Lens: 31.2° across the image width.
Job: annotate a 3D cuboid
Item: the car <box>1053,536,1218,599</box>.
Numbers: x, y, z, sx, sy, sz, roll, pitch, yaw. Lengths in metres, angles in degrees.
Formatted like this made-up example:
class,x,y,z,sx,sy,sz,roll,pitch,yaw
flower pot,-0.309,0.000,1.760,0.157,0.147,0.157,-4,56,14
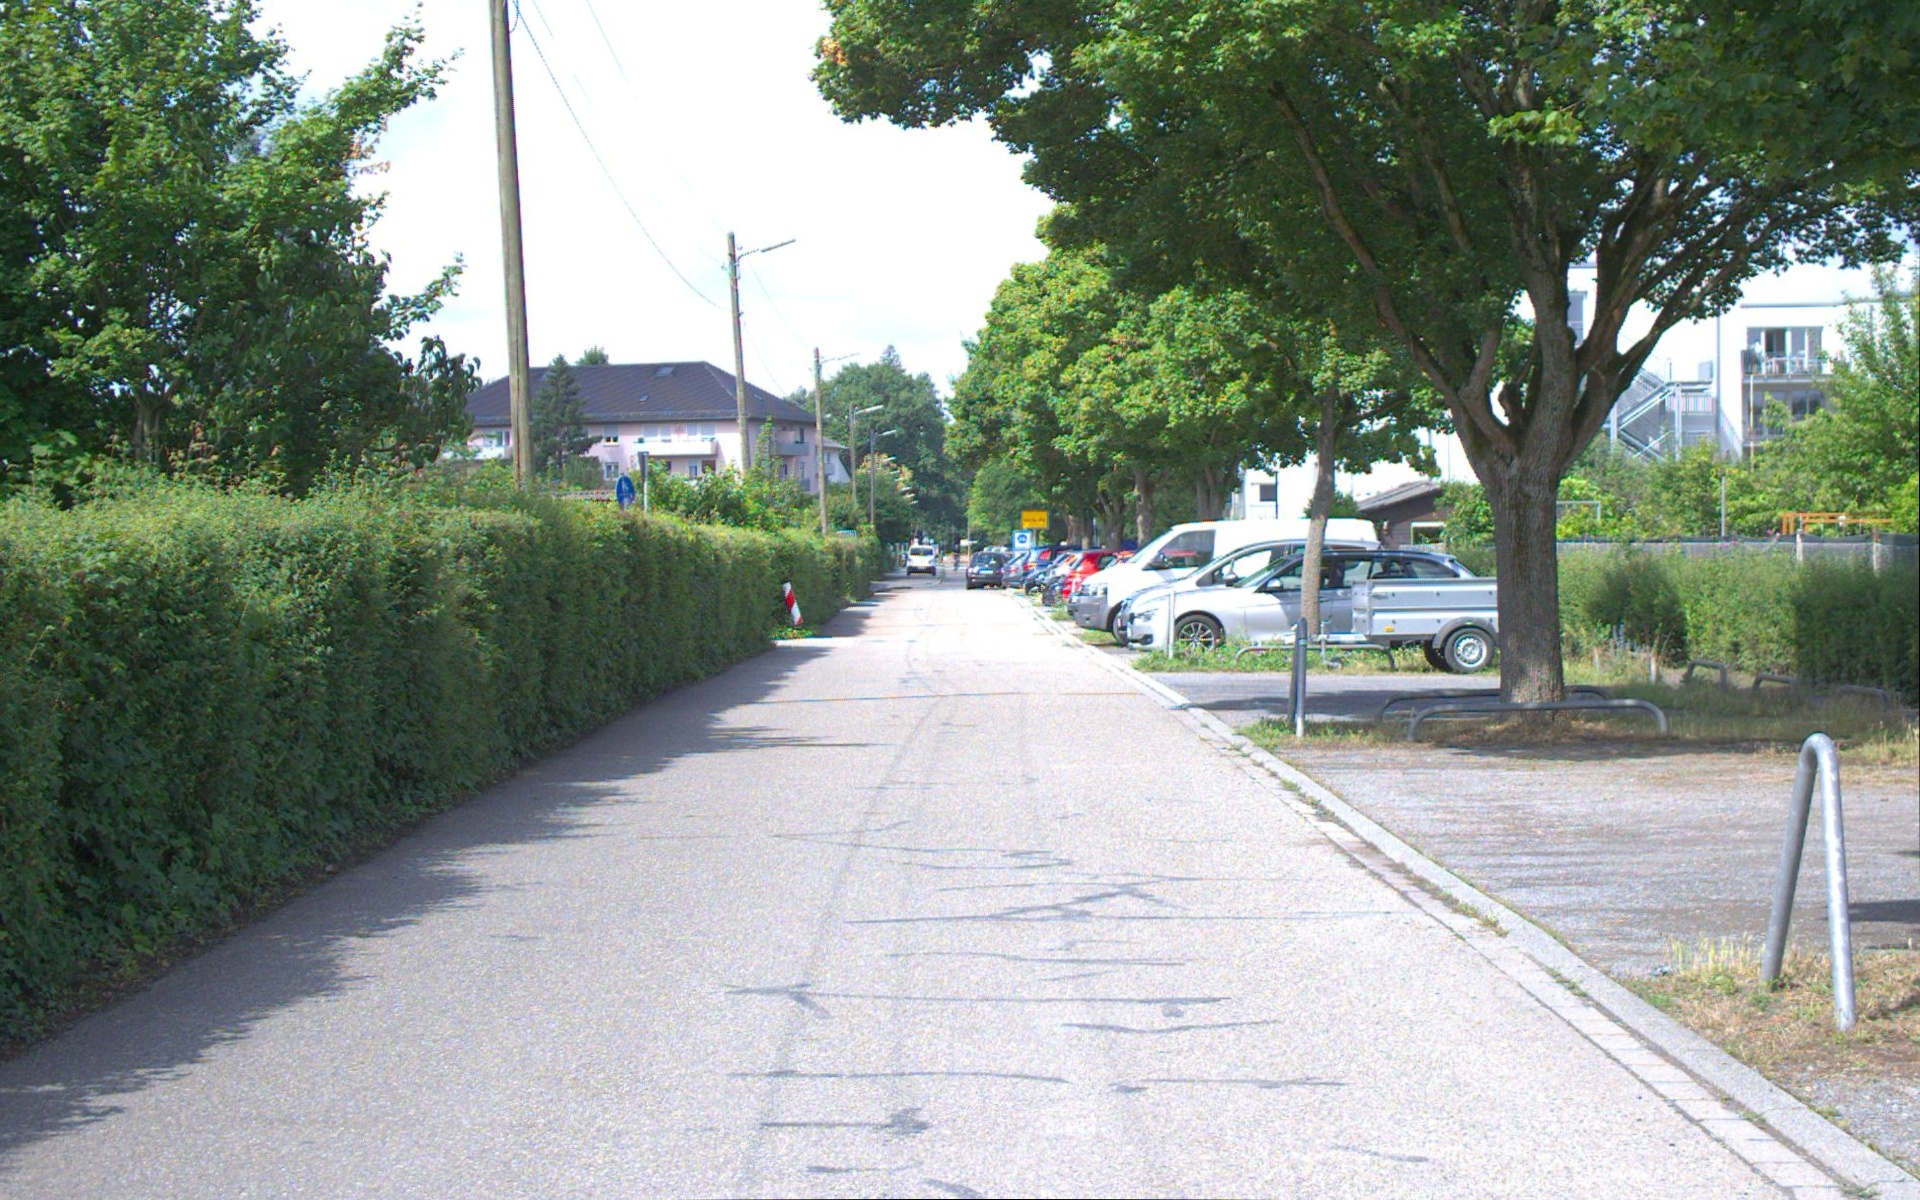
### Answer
class,x,y,z,sx,sy,sz,roll,pitch,yaw
car,4.408,-0.817,86.238,4.065,1.506,1.957,1,0,3

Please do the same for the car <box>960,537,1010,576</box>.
class,x,y,z,sx,sy,sz,roll,pitch,yaw
car,1.021,-1.733,137.991,1.663,1.501,3.999,1,1,5

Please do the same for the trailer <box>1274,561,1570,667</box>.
class,x,y,z,sx,sy,sz,roll,pitch,yaw
trailer,5.213,0.147,39.116,3.100,1.138,2.000,1,1,0

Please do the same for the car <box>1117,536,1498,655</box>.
class,x,y,z,sx,sy,sz,roll,pitch,yaw
car,4.389,-0.081,43.853,4.577,1.461,2.000,0,1,-3

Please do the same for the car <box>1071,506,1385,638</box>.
class,x,y,z,sx,sy,sz,roll,pitch,yaw
car,4.131,-0.447,53.553,4.634,1.880,2.112,-2,1,-1

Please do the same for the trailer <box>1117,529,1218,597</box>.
class,x,y,z,sx,sy,sz,roll,pitch,yaw
trailer,5.450,-0.985,90.442,2.449,1.714,1.518,1,2,-3

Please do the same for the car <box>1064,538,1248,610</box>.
class,x,y,z,sx,sy,sz,roll,pitch,yaw
car,4.322,-0.576,75.951,3.987,1.514,1.854,1,0,4

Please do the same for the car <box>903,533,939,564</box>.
class,x,y,z,sx,sy,sz,roll,pitch,yaw
car,-2.337,-3.060,206.497,1.903,1.808,4.000,1,1,3

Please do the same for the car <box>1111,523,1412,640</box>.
class,x,y,z,sx,sy,sz,roll,pitch,yaw
car,4.409,-0.283,50.808,4.243,1.587,2.000,-2,1,1
